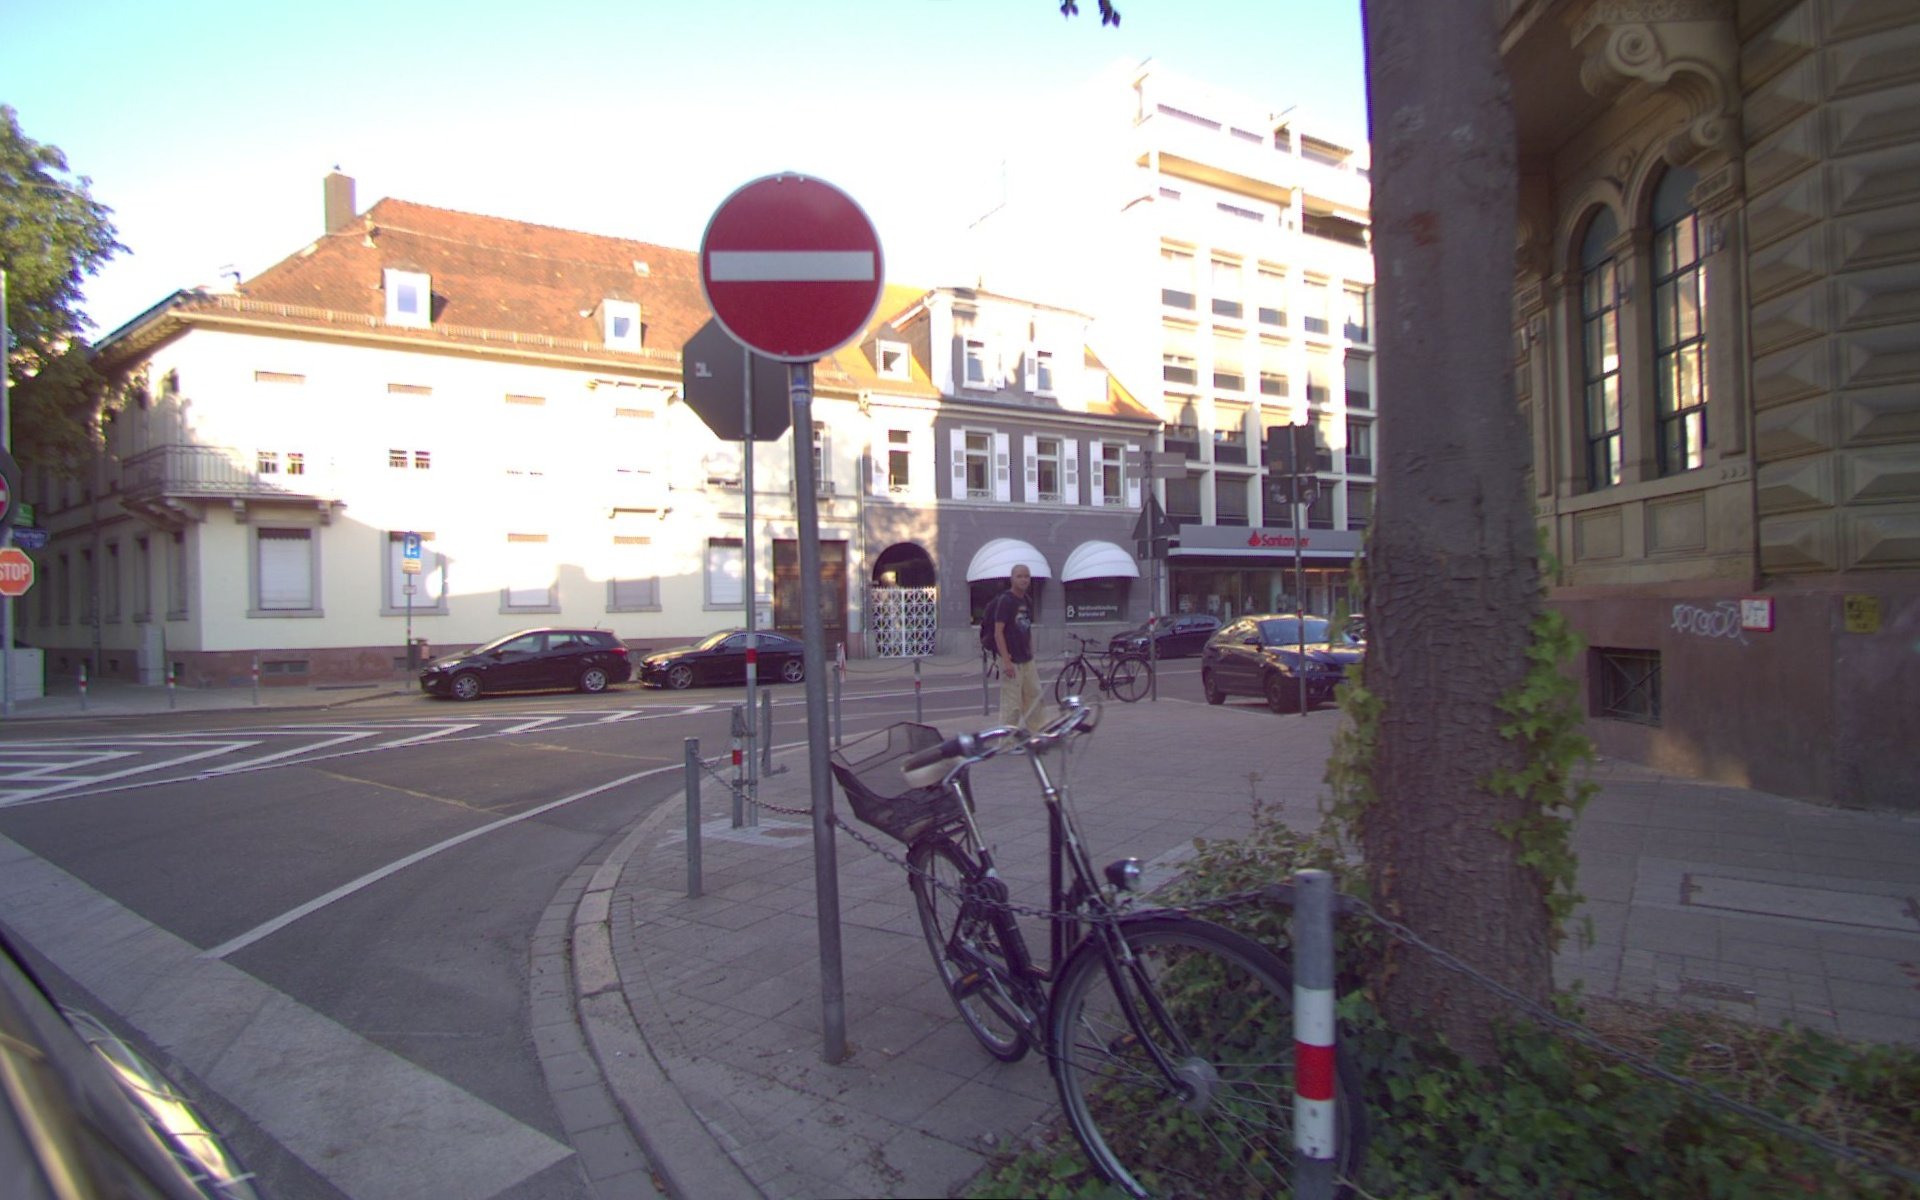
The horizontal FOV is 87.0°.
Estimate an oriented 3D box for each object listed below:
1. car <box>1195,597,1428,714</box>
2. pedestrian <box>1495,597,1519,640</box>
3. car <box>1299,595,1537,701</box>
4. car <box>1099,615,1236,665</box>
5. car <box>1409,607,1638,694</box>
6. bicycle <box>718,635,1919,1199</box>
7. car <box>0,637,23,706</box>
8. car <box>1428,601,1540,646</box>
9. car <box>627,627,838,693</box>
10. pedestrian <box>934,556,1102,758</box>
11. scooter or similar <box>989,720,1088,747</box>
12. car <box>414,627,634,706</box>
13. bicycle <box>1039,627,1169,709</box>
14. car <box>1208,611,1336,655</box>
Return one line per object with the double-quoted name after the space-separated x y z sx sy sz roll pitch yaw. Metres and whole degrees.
5.030 0.864 15.105 1.714 1.472 3.868 -1 -4 -6 "car"
24.666 0.825 45.637 0.707 1.901 0.614 0 -2 -31 "pedestrian"
7.627 0.831 17.448 1.743 1.523 4.631 -2 -3 -3 "car"
6.688 1.264 32.535 4.177 1.458 1.753 -1 -1 -30 "car"
10.526 0.893 19.315 1.685 1.458 4.256 -1 -1 -5 "car"
0.431 0.725 2.101 0.832 1.277 2.578 0 -2 -37 "bicycle"
-24.521 1.716 23.366 1.824 1.627 3.952 -2 -2 35 "car"
20.917 0.929 40.354 4.287 1.671 1.839 -1 -1 -28 "car"
-5.618 1.440 25.162 4.774 1.405 1.784 -1 -2 -29 "car"
0.548 0.529 9.423 1.259 1.752 0.843 -4 -2 25 "pedestrian"
0.775 1.317 10.007 0.877 0.208 0.415 -3 -2 26 "scooter or similar"
-9.801 1.439 22.811 4.355 1.553 1.813 0 -2 -30 "car"
2.202 1.029 15.470 1.772 1.134 0.730 -1 -4 -22 "bicycle"
10.963 1.146 35.459 4.424 1.398 1.753 -1 -1 -31 "car"
